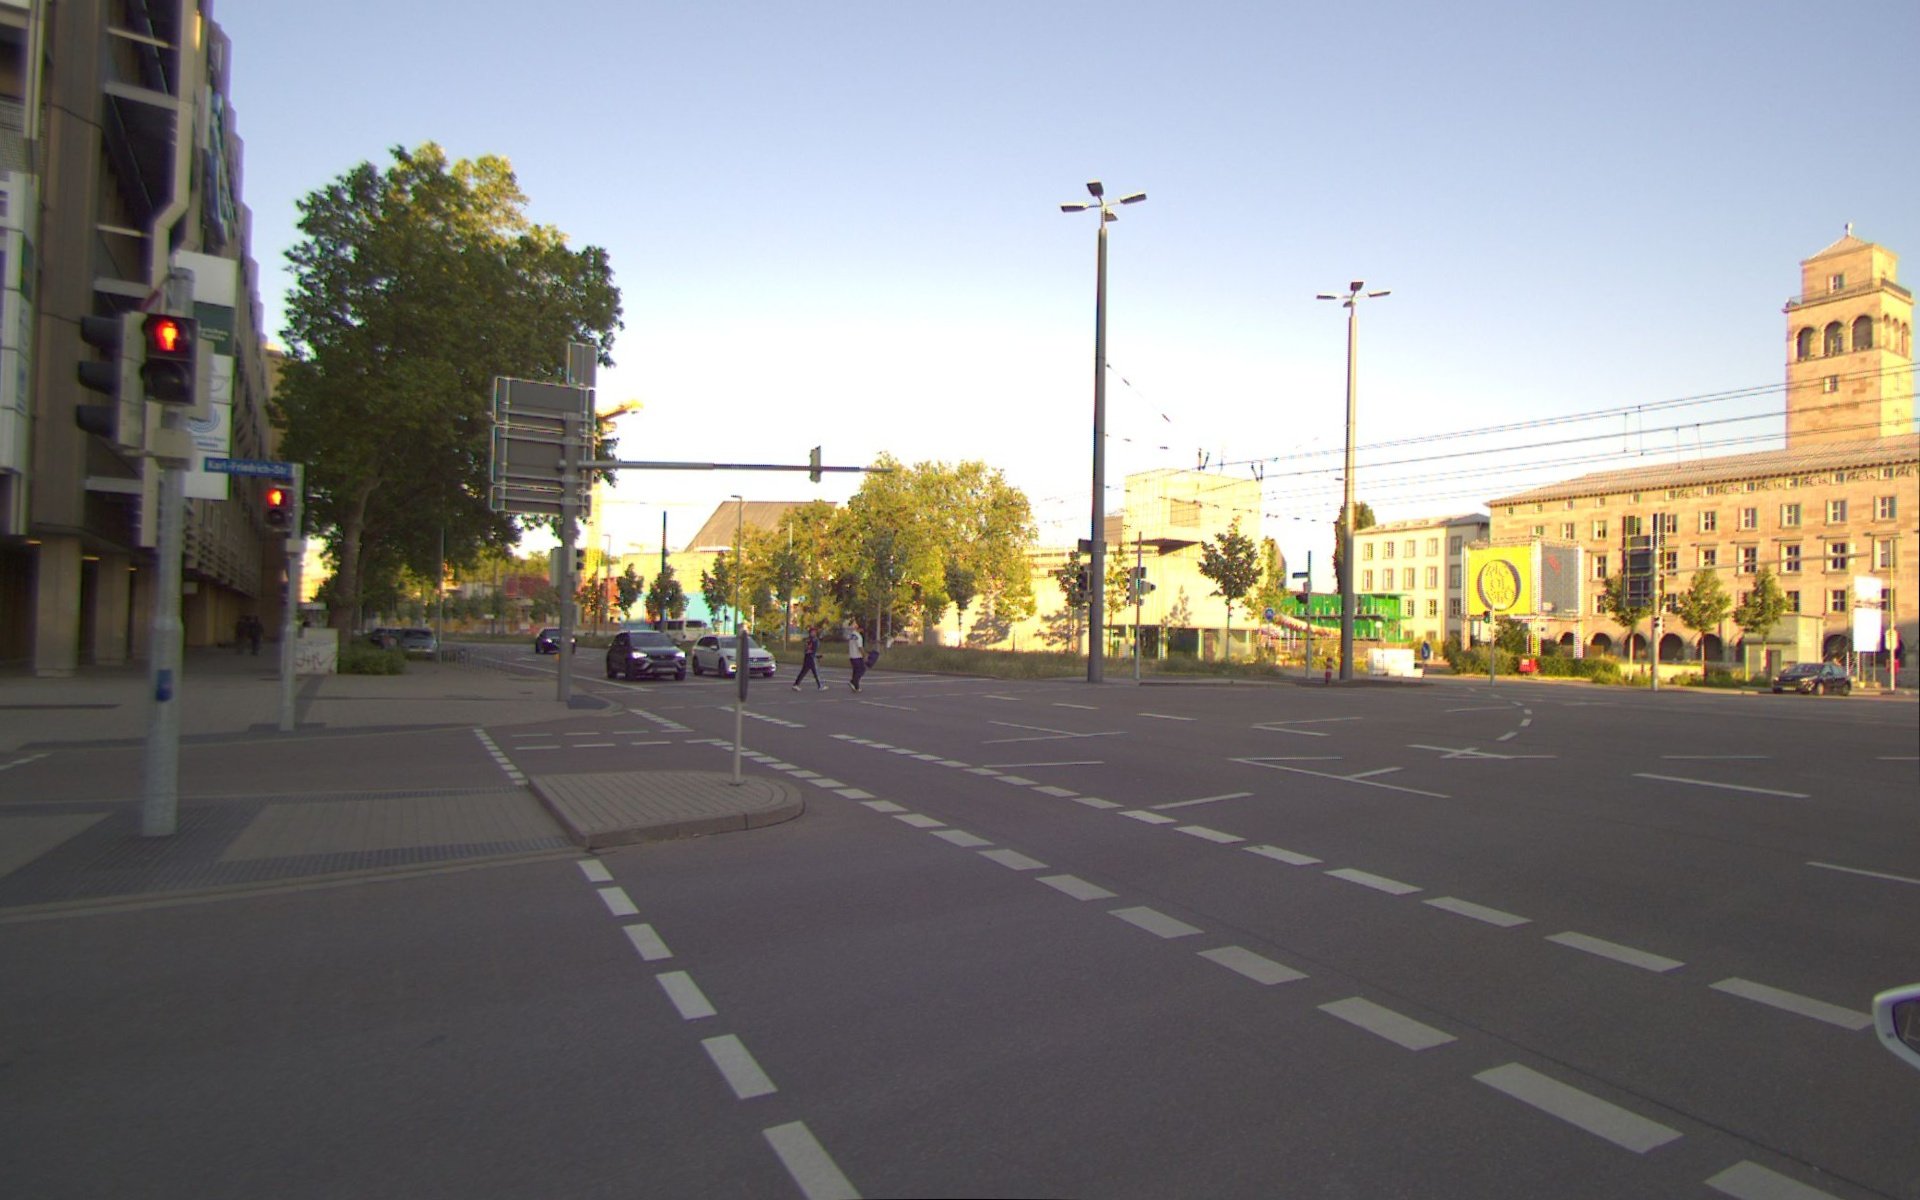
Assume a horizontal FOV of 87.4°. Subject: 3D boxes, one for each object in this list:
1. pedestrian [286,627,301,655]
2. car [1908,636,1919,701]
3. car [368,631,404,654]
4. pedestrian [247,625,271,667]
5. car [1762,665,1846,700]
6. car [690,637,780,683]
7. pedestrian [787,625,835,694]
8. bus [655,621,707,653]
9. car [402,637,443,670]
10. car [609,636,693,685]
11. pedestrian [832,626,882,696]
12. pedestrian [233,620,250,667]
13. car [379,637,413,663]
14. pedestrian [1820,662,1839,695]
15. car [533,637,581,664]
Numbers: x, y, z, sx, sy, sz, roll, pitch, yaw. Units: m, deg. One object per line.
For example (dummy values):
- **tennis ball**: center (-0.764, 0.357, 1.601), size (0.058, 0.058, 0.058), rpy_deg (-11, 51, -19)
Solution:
- **pedestrian**: center (-45.713, 2.810, 68.863), size (0.749, 1.829, 0.715), rpy_deg (4, -1, -35)
- **car**: center (44.402, 3.069, 44.113), size (6.009, 2.812, 2.270), rpy_deg (3, -2, -29)
- **car**: center (-41.744, 3.078, 73.000), size (1.726, 1.605, 4.544), rpy_deg (2, -2, -36)
- **pedestrian**: center (-31.163, 2.044, 44.664), size (0.749, 1.829, 0.715), rpy_deg (4, -1, -35)
- **car**: center (39.407, 3.832, 46.869), size (4.111, 1.485, 1.813), rpy_deg (2, -2, -32)
- **car**: center (-8.033, 2.083, 35.523), size (1.830, 1.476, 4.555), rpy_deg (2, -2, -30)
- **pedestrian**: center (-3.887, 1.543, 26.206), size (0.949, 1.743, 0.816), rpy_deg (3, -2, -34)
- **bus**: center (-34.450, 4.521, 123.815), size (2.960, 3.818, 10.341), rpy_deg (3, -2, -34)
- **car**: center (-28.001, 2.740, 52.264), size (1.722, 1.605, 4.554), rpy_deg (2, -2, -30)
- **car**: center (-10.239, 1.944, 33.125), size (1.830, 1.476, 3.921), rpy_deg (2, -2, -30)
- **pedestrian**: center (-2.613, 1.538, 25.466), size (0.949, 1.743, 0.816), rpy_deg (3, -2, -34)
- **pedestrian**: center (-31.979, 1.922, 44.722), size (0.512, 2.040, 0.576), rpy_deg (4, -1, -34)
- **car**: center (-35.526, 3.122, 63.226), size (1.722, 1.605, 3.764), rpy_deg (2, -2, -31)
- **pedestrian**: center (47.707, 4.310, 55.111), size (0.455, 1.767, 0.617), rpy_deg (4, -1, -35)
- **car**: center (-25.606, 3.173, 63.732), size (1.833, 1.605, 4.546), rpy_deg (2, -2, -35)
